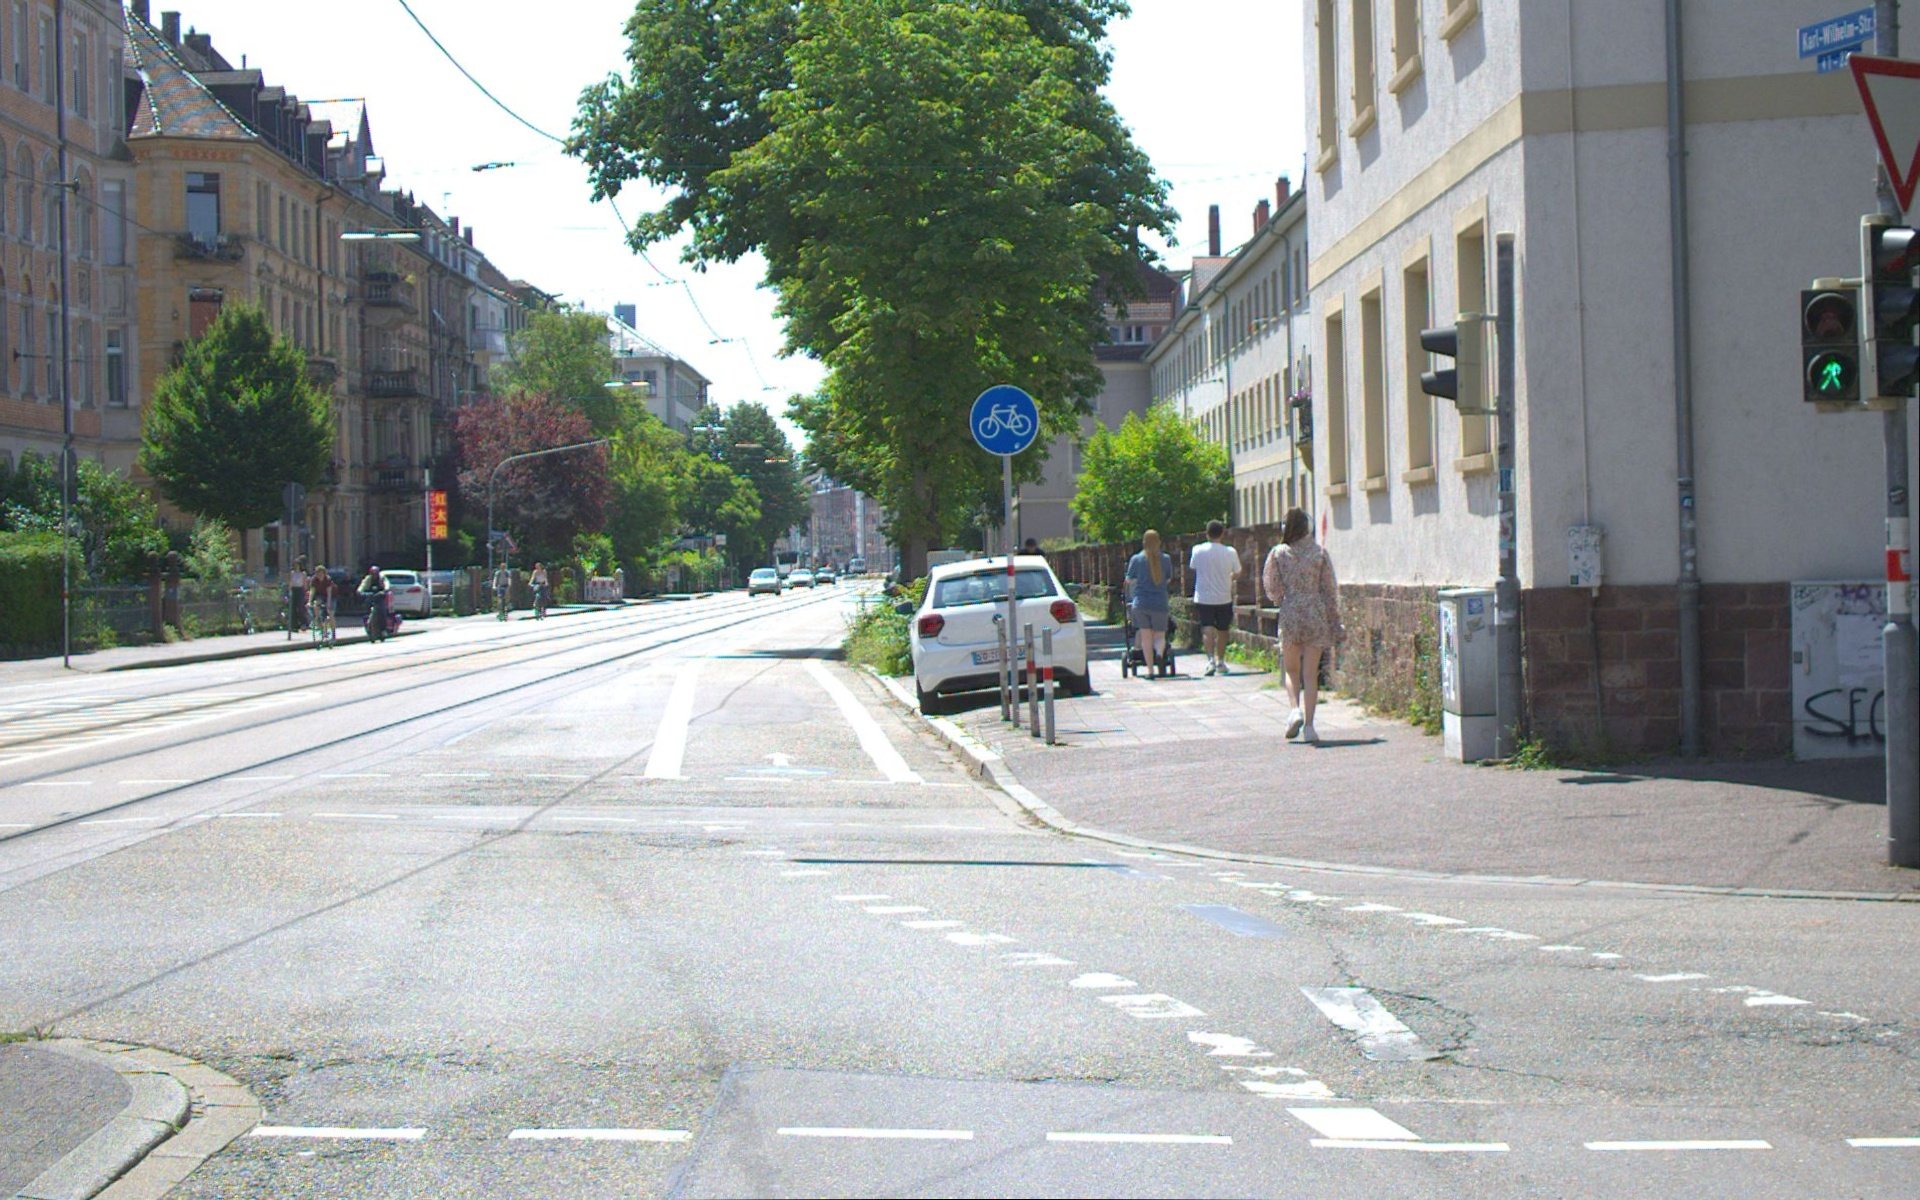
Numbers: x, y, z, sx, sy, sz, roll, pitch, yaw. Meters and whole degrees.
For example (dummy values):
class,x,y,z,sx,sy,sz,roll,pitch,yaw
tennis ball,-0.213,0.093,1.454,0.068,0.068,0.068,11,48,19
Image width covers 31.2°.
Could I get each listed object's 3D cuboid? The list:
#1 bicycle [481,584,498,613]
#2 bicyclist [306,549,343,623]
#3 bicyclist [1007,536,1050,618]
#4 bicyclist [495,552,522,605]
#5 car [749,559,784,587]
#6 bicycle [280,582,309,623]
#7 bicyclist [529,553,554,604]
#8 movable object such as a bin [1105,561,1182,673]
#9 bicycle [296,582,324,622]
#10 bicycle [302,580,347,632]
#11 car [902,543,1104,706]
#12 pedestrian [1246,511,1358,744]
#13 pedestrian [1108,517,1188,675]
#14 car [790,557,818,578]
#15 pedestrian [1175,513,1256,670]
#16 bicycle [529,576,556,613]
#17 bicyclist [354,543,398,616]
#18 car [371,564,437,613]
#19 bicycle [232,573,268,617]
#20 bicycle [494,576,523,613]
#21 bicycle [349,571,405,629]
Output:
class,x,y,z,sx,sy,sz,roll,pitch,yaw
bicycle,-16.754,-0.069,122.440,0.454,1.000,1.807,-1,1,-4
bicyclist,-13.166,-0.296,71.266,0.562,1.510,0.892,-1,1,0
bicyclist,1.225,-0.414,61.361,0.711,1.447,1.010,-1,1,2
bicyclist,-13.754,-0.658,104.649,0.634,1.579,1.028,-2,1,-1
car,-10.666,-1.507,189.728,1.684,1.444,4.000,-2,1,-1
bicycle,-16.504,0.057,85.292,0.438,0.980,1.711,-1,1,-2
bicyclist,-12.741,-0.653,104.738,0.592,1.539,0.952,-2,1,-1
movable object such as a bin,2.049,0.182,38.502,0.697,1.182,1.036,-4,1,-1
bicycle,-16.505,0.054,87.334,0.438,0.980,1.711,-1,1,-2
bicycle,-13.165,0.128,71.289,0.567,1.034,1.829,-1,1,0
car,0.381,0.209,35.126,1.777,1.405,4.157,-6,1,-1
pedestrian,2.494,0.194,25.130,0.697,1.664,0.756,-1,1,-2
pedestrian,2.050,-0.047,37.543,0.697,1.664,0.869,-4,1,-1
car,-11.266,-2.334,248.234,1.756,1.419,4.000,-2,1,0
pedestrian,2.802,-0.096,37.761,0.697,1.664,0.756,-4,1,-1
bicycle,-12.723,-0.184,104.727,0.581,1.074,1.891,-2,1,-1
bicyclist,-13.316,-0.472,78.434,0.807,1.624,0.980,-1,1,0
car,-18.318,-0.396,113.378,1.865,1.594,4.102,0,1,-5
bicycle,-16.552,-0.120,80.145,0.496,0.984,1.711,3,1,-2
bicycle,-13.740,-0.166,104.688,0.629,1.074,1.875,-2,1,-1
bicycle,-13.307,-0.008,78.490,0.807,1.267,2.551,-1,1,0
